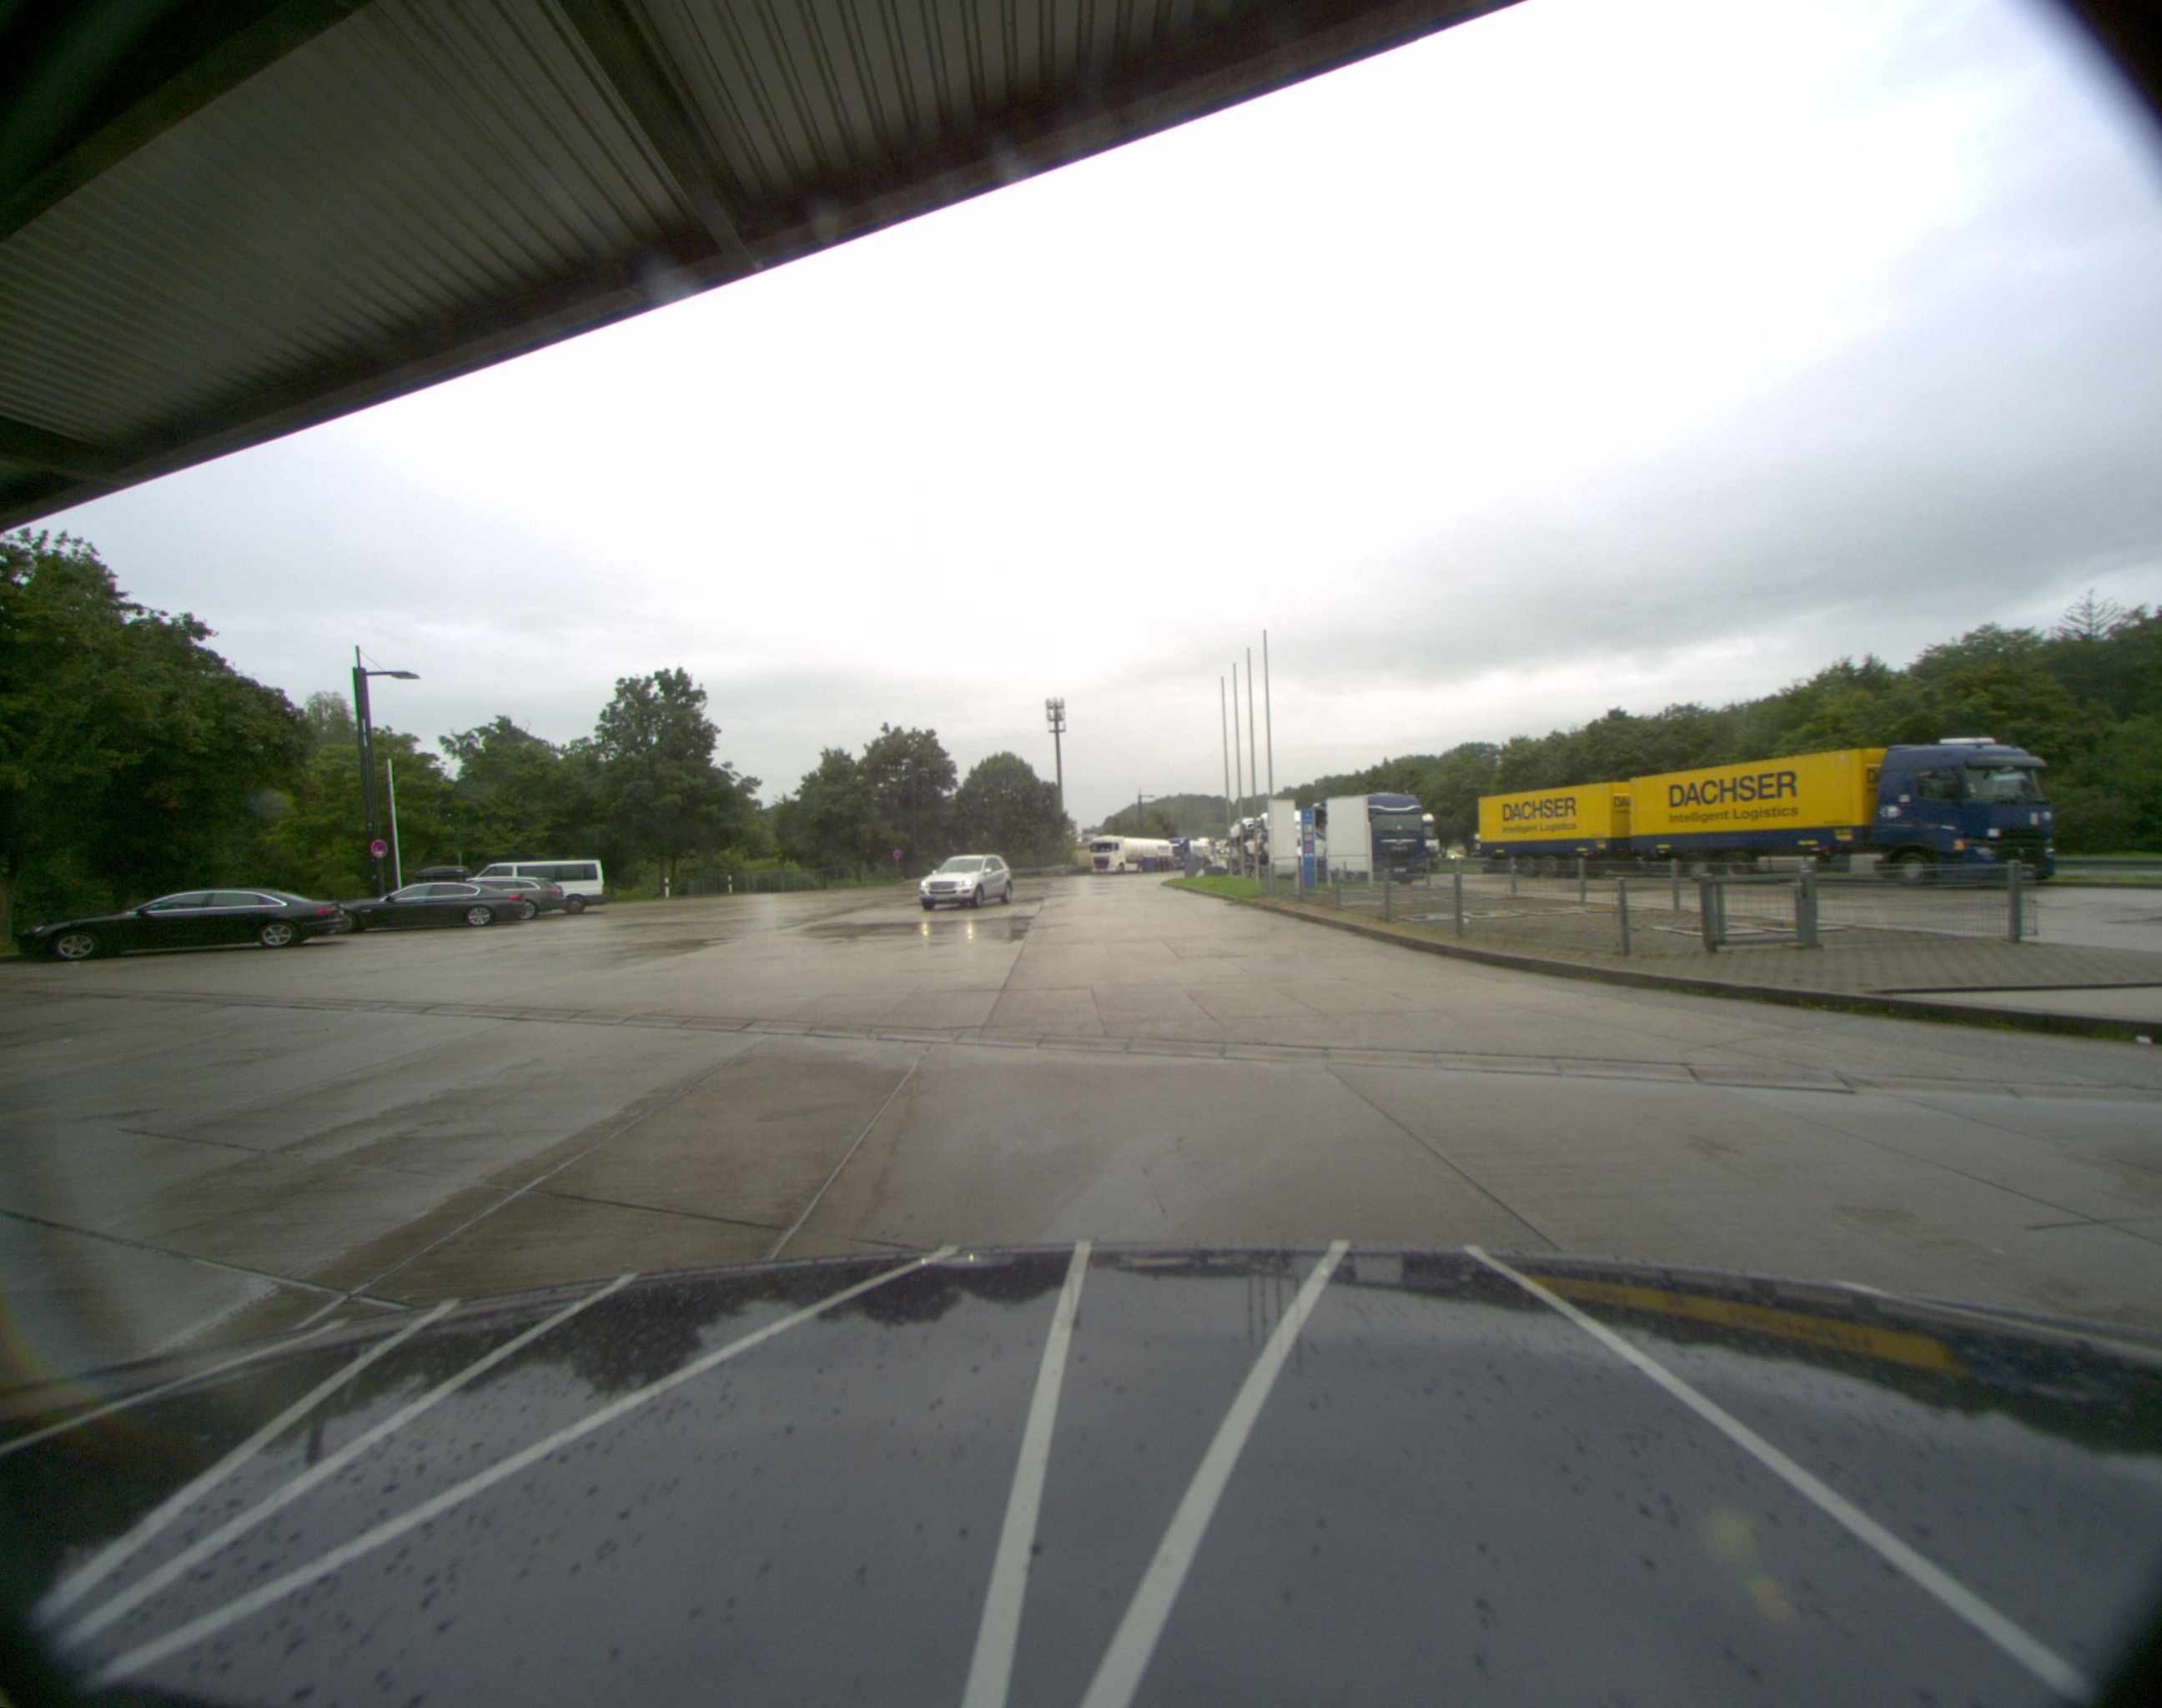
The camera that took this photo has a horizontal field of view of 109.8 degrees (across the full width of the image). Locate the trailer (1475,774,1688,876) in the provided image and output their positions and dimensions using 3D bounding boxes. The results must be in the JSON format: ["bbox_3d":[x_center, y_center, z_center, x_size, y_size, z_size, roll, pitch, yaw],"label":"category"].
[{"bbox_3d":[21.793,-1.180,33.957,2.757,3.894,8.700,-2,1,-9],"label":"trailer"}]

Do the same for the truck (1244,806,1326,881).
[{"bbox_3d":[11.047,-0.553,41.596,2.665,3.750,4.747,-2,1,-6],"label":"truck"}]

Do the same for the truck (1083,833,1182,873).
[{"bbox_3d":[5.452,-0.154,75.216,3.505,3.584,14.426,-2,0,31],"label":"truck"}]

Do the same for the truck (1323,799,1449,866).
[{"bbox_3d":[19.883,-1.293,50.578,2.757,3.894,10.678,-2,1,-8],"label":"truck"}]

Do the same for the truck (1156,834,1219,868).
[{"bbox_3d":[12.778,-0.396,89.698,3.506,3.584,14.685,-2,0,23],"label":"truck"}]

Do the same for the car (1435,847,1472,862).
[{"bbox_3d":[45.956,0.034,93.923,1.891,1.748,3.994,-2,1,-16],"label":"car"}]

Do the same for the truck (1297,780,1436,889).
[{"bbox_3d":[12.186,-0.791,33.189,2.665,4.157,7.103,-2,0,-6],"label":"truck"}]

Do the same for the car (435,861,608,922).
[{"bbox_3d":[-20.425,1.293,28.001,4.898,1.938,2.310,-2,0,-35],"label":"car"}]

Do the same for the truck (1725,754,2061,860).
[{"bbox_3d":[33.912,-1.756,32.723,2.421,3.785,10.223,-2,1,-10],"label":"truck"}]

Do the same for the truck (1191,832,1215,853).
[{"bbox_3d":[31.577,-2.906,197.279,3.145,5.092,11.515,-2,1,-5],"label":"truck"}]

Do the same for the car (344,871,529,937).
[{"bbox_3d":[-18.873,1.399,22.512,4.007,1.650,1.596,-2,0,-35],"label":"car"}]

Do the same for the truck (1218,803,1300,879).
[{"bbox_3d":[10.571,-0.721,45.787,2.665,4.157,6.618,-2,1,-6],"label":"truck"}]

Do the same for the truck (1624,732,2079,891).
[{"bbox_3d":[23.156,-1.124,24.336,2.757,3.894,10.678,-2,1,-8],"label":"truck"}]

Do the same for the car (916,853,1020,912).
[{"bbox_3d":[-3.704,0.902,25.813,1.864,1.787,4.544,-2,0,14],"label":"car"}]

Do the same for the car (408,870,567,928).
[{"bbox_3d":[-19.469,1.432,25.164,4.007,1.650,1.596,-2,0,-35],"label":"car"}]
